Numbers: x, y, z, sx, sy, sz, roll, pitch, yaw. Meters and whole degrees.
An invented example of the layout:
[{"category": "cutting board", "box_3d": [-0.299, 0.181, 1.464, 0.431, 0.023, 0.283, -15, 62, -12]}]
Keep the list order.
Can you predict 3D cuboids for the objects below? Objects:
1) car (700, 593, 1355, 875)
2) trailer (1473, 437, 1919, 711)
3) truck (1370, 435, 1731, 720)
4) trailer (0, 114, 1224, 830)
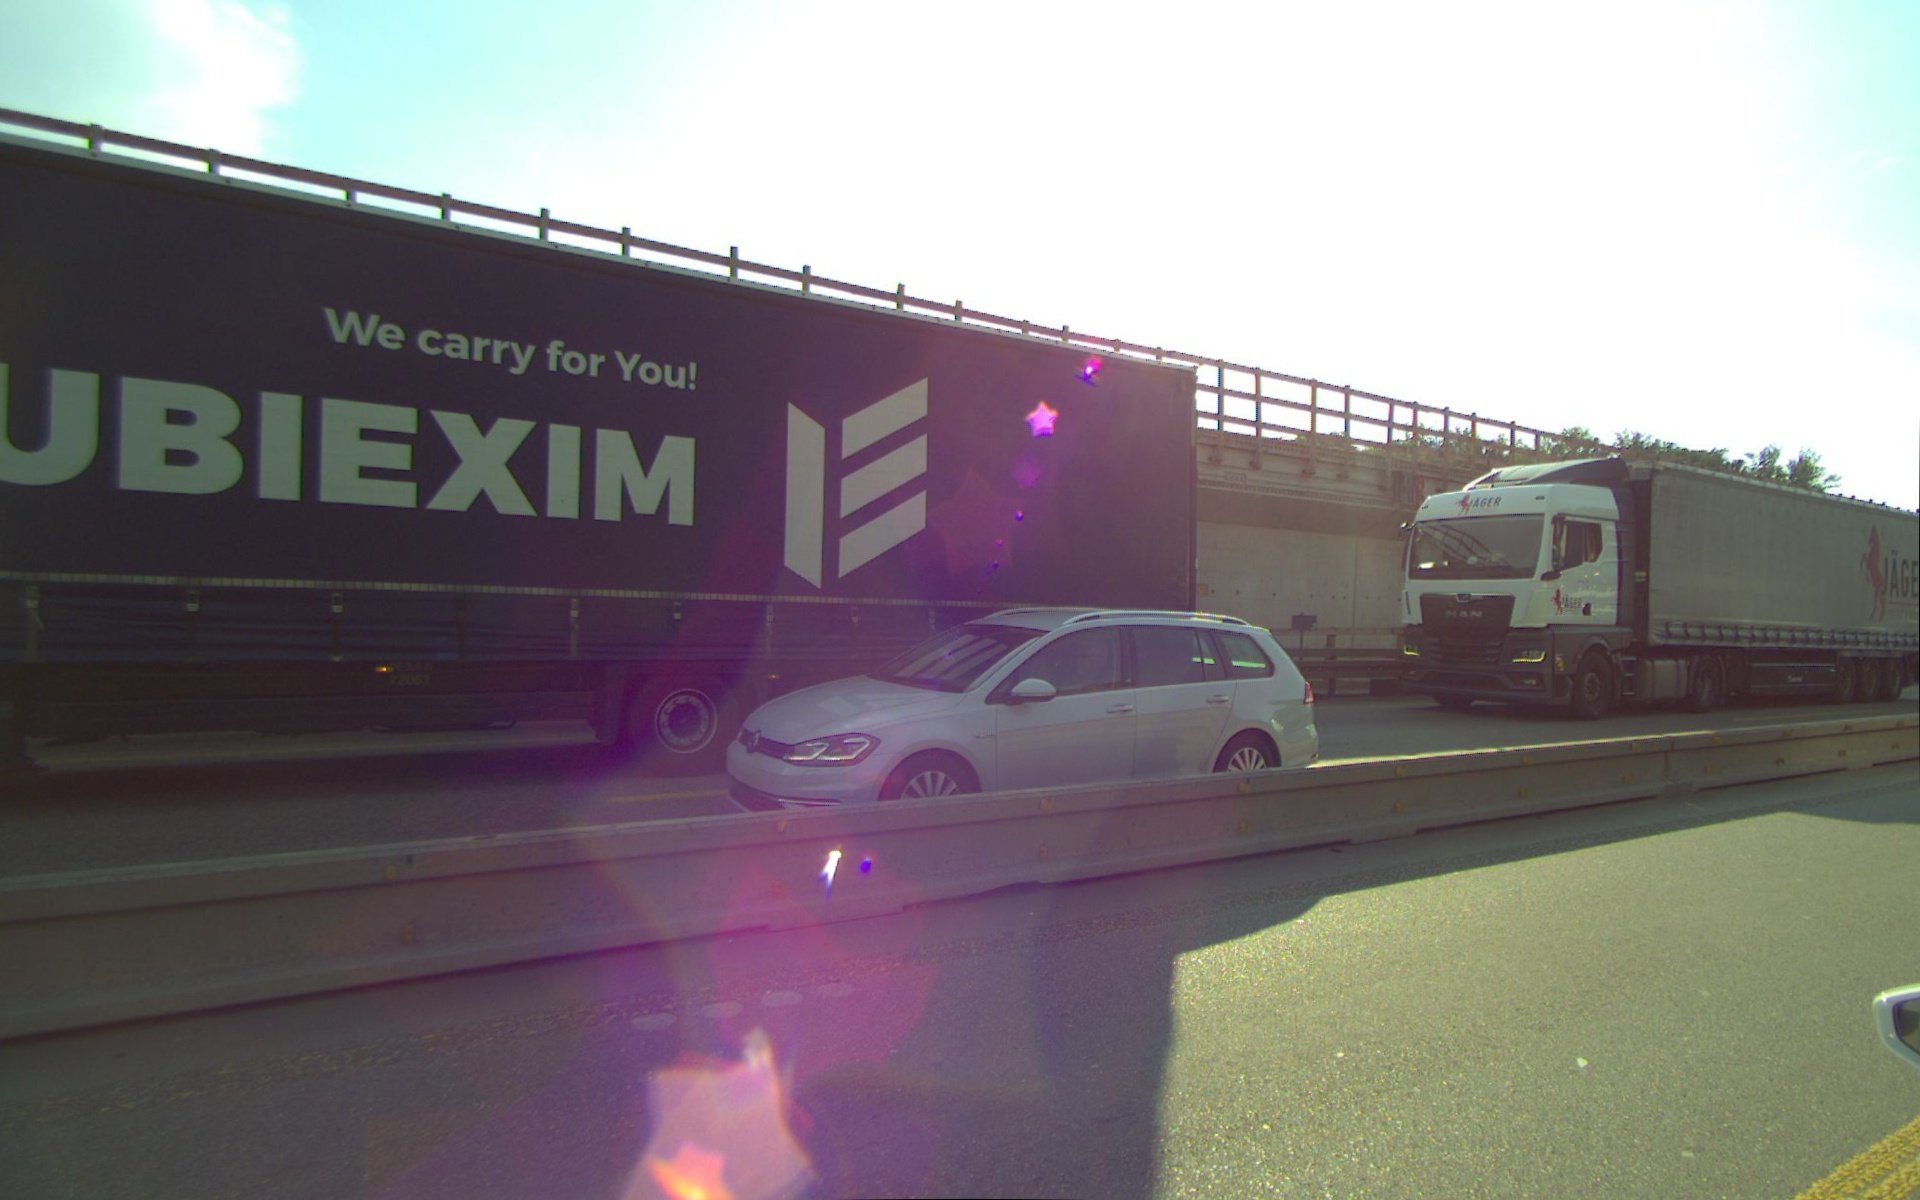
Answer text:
[{"category": "car", "box_3d": [0.643, 0.789, 7.179, 4.544, 1.478, 1.632, 3, -1, -32]}, {"category": "trailer", "box_3d": [15.956, -0.156, 20.577, 13.613, 4.296, 2.898, 3, -1, -31]}, {"category": "truck", "box_3d": [10.014, -0.226, 16.969, 5.593, 4.061, 2.846, 3, 0, -31]}, {"category": "trailer", "box_3d": [-3.824, -0.707, 8.562, 13.860, 4.197, 2.751, 1, 0, -30]}]
